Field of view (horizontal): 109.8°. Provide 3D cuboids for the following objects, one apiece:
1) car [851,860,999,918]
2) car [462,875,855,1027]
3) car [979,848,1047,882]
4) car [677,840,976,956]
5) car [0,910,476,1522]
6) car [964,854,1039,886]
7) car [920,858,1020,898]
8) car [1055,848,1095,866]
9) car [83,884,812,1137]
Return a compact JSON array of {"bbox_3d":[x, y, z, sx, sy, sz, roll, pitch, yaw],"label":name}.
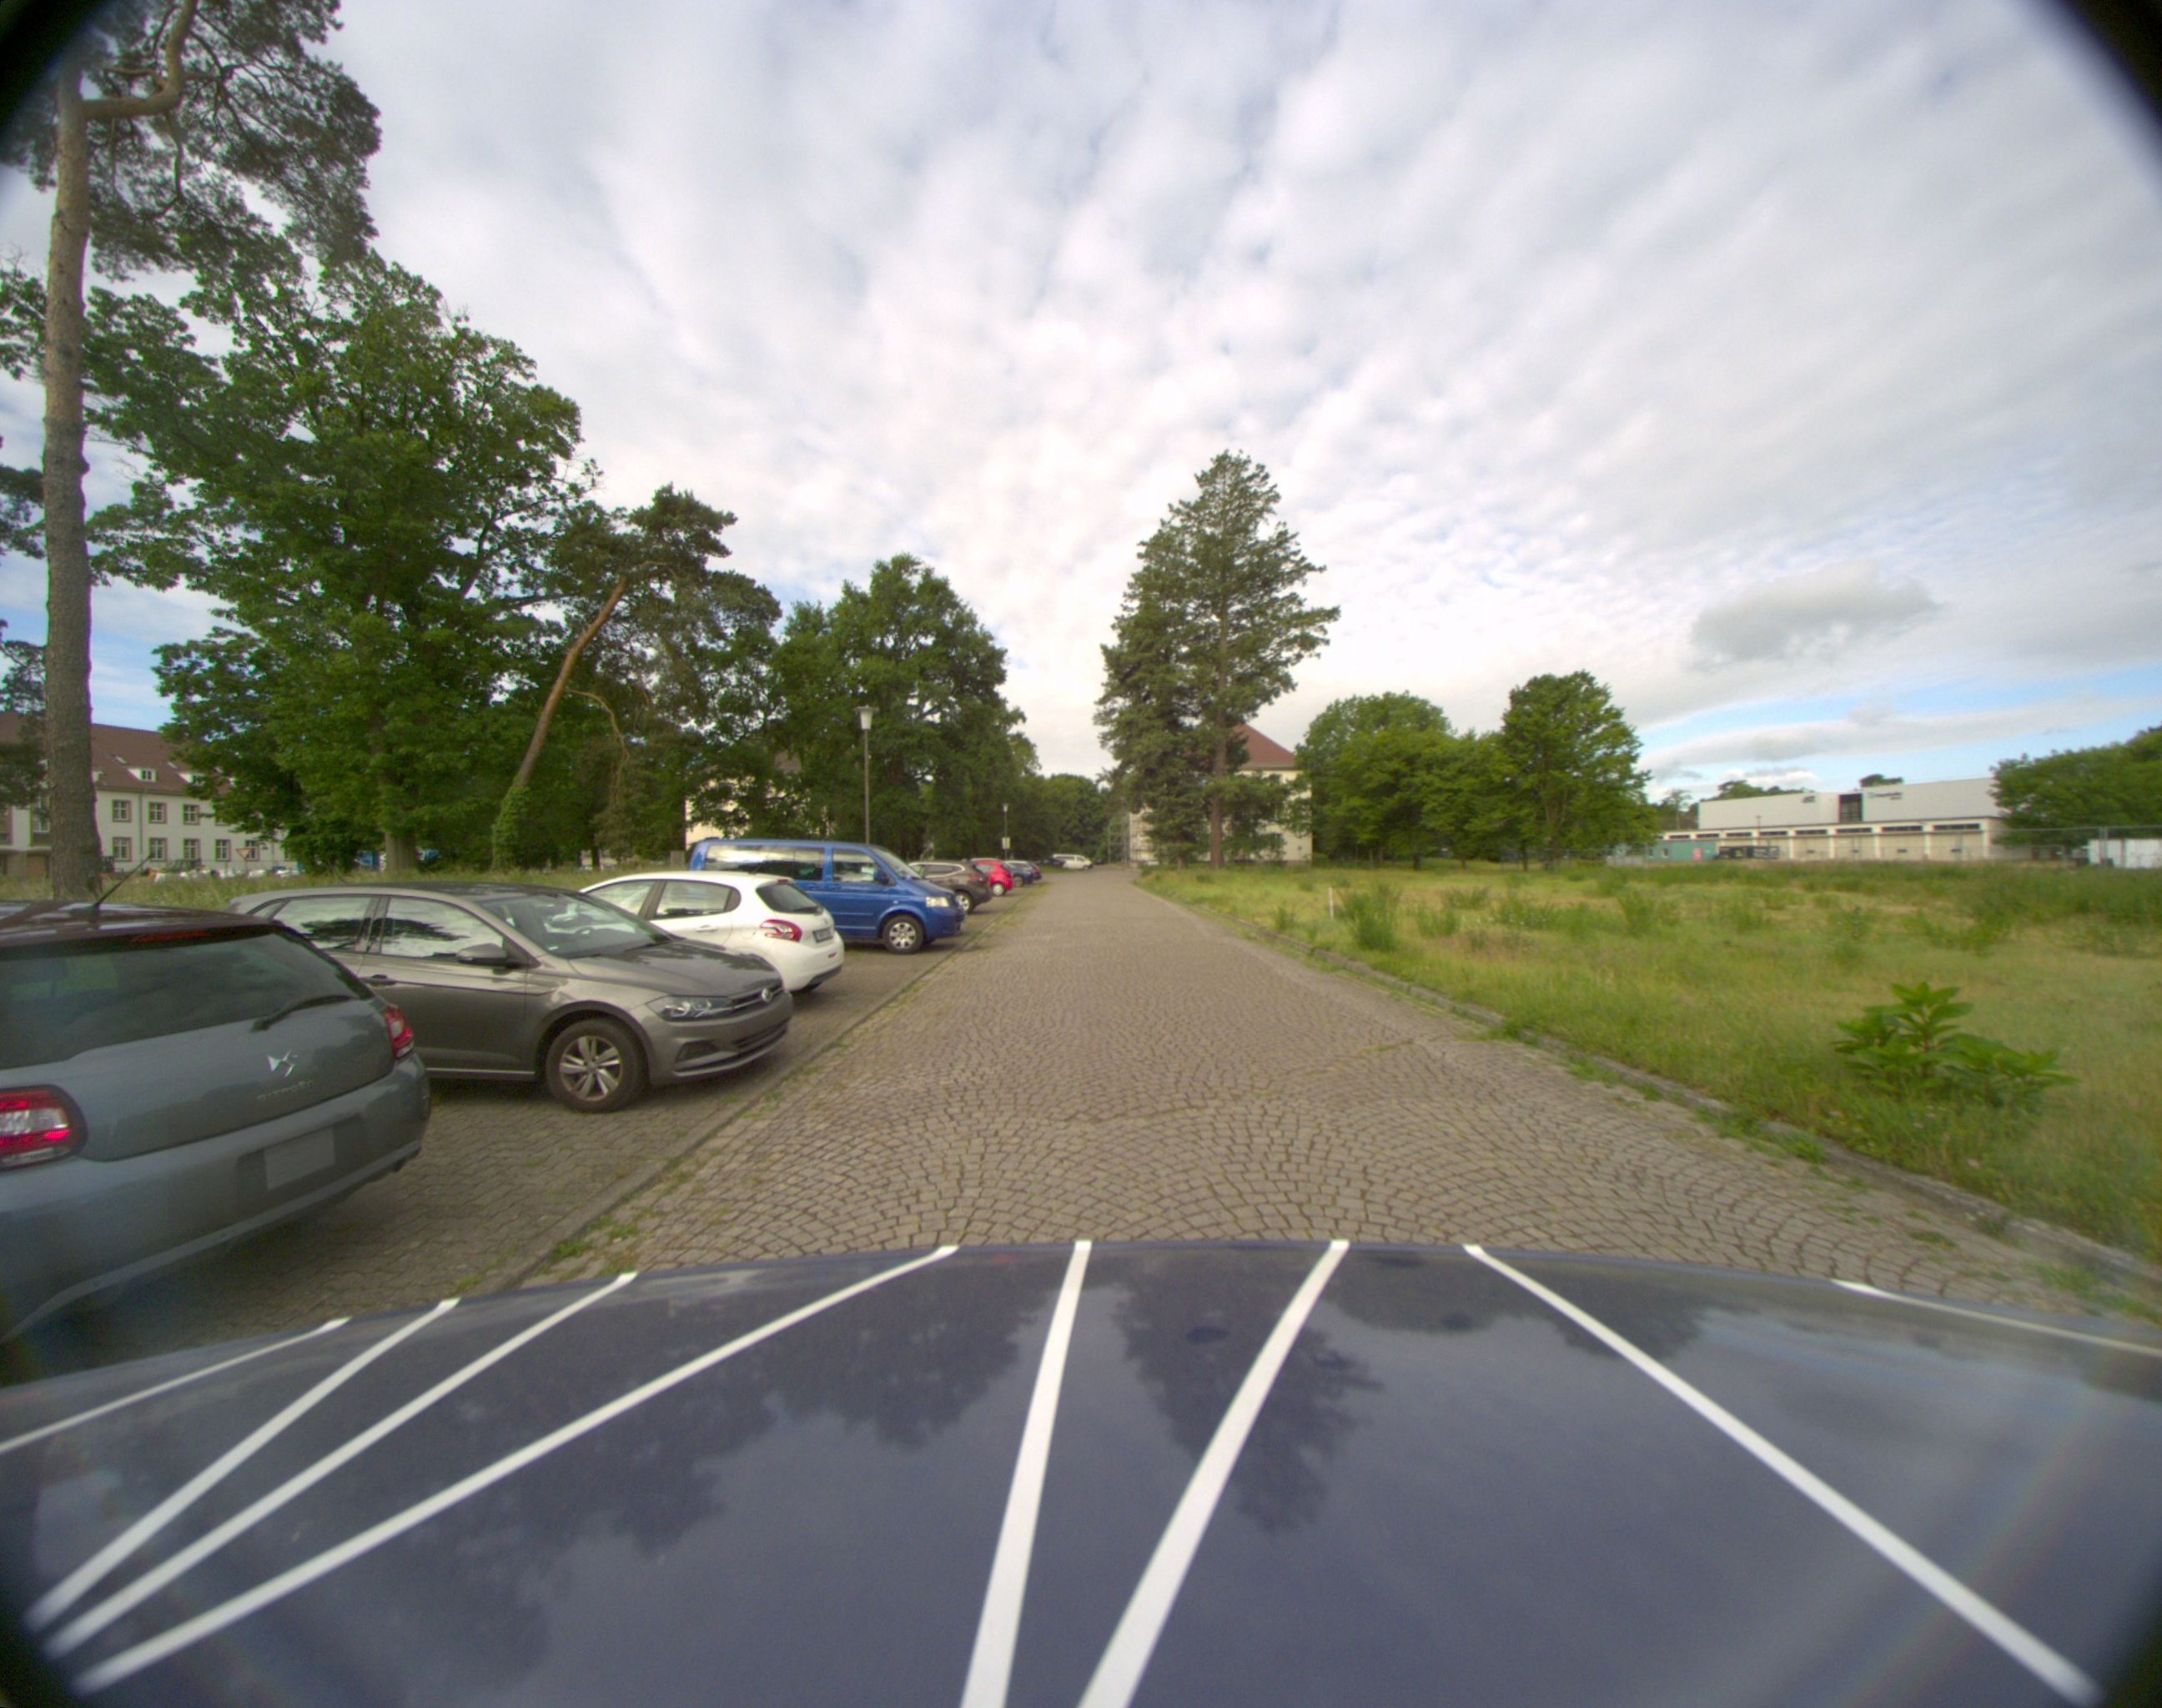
[{"bbox_3d":[-4.583,1.011,22.756,3.997,1.601,2.000,-1,0,0],"label":"car"},{"bbox_3d":[-4.459,0.993,8.390,3.408,1.443,1.637,-1,0,1],"label":"car"},{"bbox_3d":[-4.231,0.680,47.730,3.996,2.002,2.000,-1,0,1],"label":"car"},{"bbox_3d":[-4.428,0.740,13.813,4.749,1.928,2.000,0,0,0],"label":"car"},{"bbox_3d":[-4.783,1.038,2.679,3.787,1.497,1.799,-1,0,-2],"label":"car"},{"bbox_3d":[-4.491,0.915,43.336,4.007,1.752,2.000,-1,0,1],"label":"car"},{"bbox_3d":[-4.765,1.033,33.088,3.997,1.521,2.000,-2,0,0],"label":"car"},{"bbox_3d":[-0.762,0.389,96.593,5.031,2.164,2.000,-1,0,2],"label":"car"},{"bbox_3d":[-4.241,0.999,5.566,3.848,1.448,1.820,-1,0,3],"label":"car"}]
